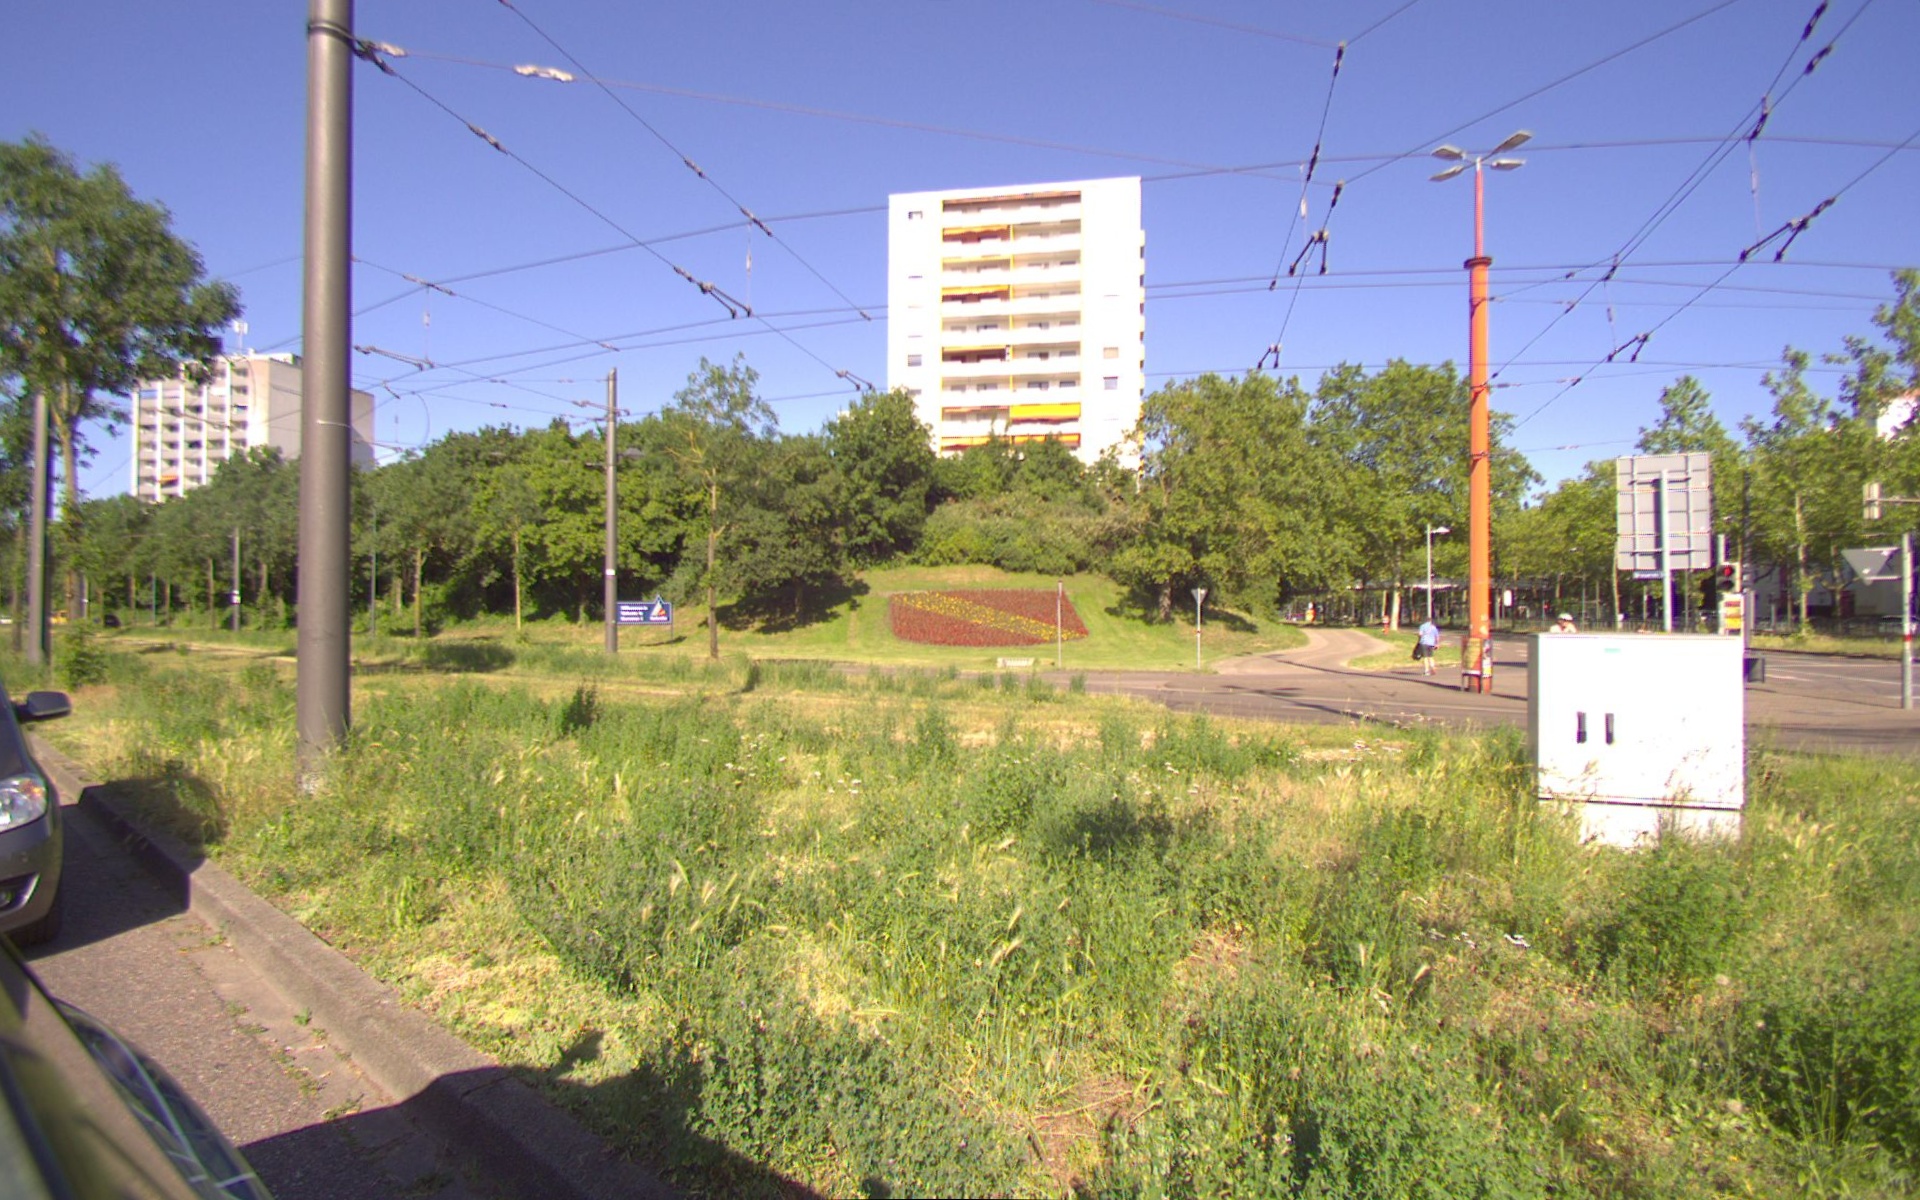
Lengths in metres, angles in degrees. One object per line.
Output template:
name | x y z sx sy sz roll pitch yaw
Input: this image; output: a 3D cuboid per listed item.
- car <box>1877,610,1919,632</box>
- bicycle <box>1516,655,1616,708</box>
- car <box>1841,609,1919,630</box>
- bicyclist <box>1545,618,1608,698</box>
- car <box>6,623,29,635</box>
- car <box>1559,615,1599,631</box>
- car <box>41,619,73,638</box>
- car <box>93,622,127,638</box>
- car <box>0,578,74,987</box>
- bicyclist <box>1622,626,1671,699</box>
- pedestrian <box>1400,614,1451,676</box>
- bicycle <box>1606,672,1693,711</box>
car | 64.896 1.412 68.397 1.770 1.420 4.010 1 -1 -36
bicycle | 12.089 1.607 20.252 0.673 0.968 1.650 0 -1 -20
car | 65.884 1.391 72.379 1.770 1.420 4.010 1 -1 -36
bicyclist | 12.208 1.132 20.058 0.719 1.557 0.770 0 -2 -20
car | -113.809 3.456 122.208 4.000 1.386 1.756 -1 -2 43
car | 79.739 3.014 130.479 3.969 2.029 1.987 -1 -1 20
car | -97.615 3.052 109.388 4.904 1.981 1.973 -1 -2 41
car | -83.381 2.935 99.276 4.105 1.586 1.972 -1 -2 42
car | -5.728 0.751 4.841 3.879 1.634 1.737 -1 -2 41
bicyclist | 13.368 1.201 19.707 0.435 1.391 0.631 0 -2 -20
pedestrian | 13.981 1.341 30.421 0.938 1.807 0.991 0 -1 -16
bicycle | 13.383 1.767 19.678 0.427 0.665 1.426 0 -1 -18
